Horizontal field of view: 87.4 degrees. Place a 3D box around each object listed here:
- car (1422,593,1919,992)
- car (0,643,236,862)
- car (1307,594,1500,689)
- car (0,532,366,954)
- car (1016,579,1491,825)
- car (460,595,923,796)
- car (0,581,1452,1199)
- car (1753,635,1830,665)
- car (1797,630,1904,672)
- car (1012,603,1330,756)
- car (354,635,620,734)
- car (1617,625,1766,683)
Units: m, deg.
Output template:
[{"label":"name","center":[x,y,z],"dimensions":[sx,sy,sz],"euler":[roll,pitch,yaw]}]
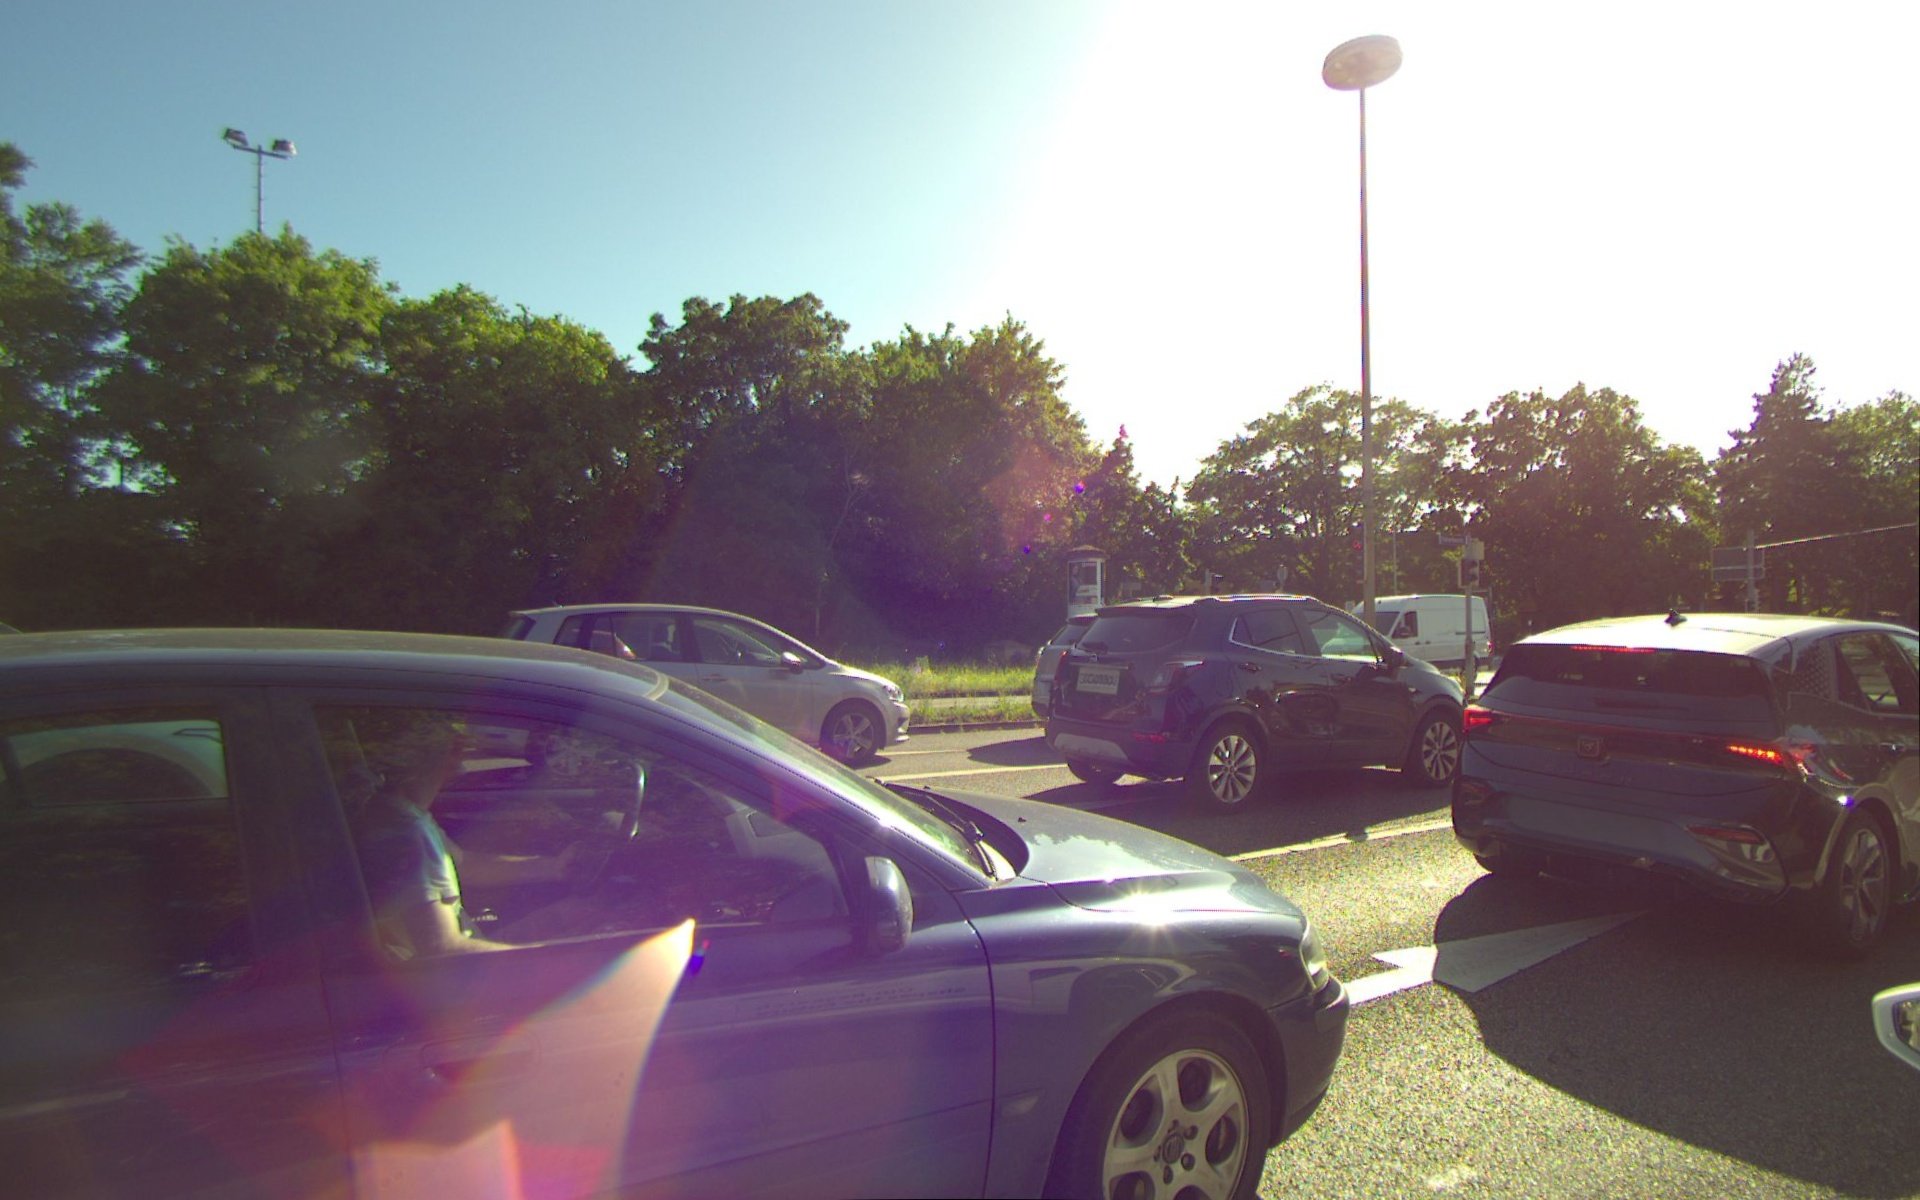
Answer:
[{"label":"car","center":[4.741,0.829,5.822],"dimensions":[4.158,1.601,1.676],"euler":[2,-1,-30]},{"label":"car","center":[-7.913,1.040,6.950],"dimensions":[4.499,1.448,1.822],"euler":[1,-2,-30]},{"label":"car","center":[12.963,1.196,29.223],"dimensions":[5.934,2.525,2.090],"euler":[1,-2,-30]},{"label":"car","center":[-5.249,0.599,4.516],"dimensions":[4.373,1.732,1.984],"euler":[1,-2,-30]},{"label":"car","center":[2.621,0.771,8.801],"dimensions":[3.953,1.711,1.796],"euler":[1,-2,-30]},{"label":"car","center":[-2.613,0.837,10.012],"dimensions":[4.156,1.632,1.822],"euler":[1,-2,-30]},{"label":"car","center":[-1.096,0.727,2.208],"dimensions":[4.404,1.471,1.767],"euler":[2,0,-30]},{"label":"car","center":[35.495,2.113,42.842],"dimensions":[3.593,1.251,1.383],"euler":[1,-2,-30]},{"label":"car","center":[32.947,1.846,37.130],"dimensions":[4.116,1.482,1.768],"euler":[1,-2,-30]},{"label":"car","center":[2.811,0.954,13.188],"dimensions":[3.956,1.724,1.820],"euler":[1,-2,-32]},{"label":"car","center":[-8.030,1.358,17.194],"dimensions":[3.956,1.529,1.678],"euler":[1,-2,-30]},{"label":"car","center":[22.025,1.576,30.208],"dimensions":[4.561,1.622,1.984],"euler":[1,-2,-30]}]
